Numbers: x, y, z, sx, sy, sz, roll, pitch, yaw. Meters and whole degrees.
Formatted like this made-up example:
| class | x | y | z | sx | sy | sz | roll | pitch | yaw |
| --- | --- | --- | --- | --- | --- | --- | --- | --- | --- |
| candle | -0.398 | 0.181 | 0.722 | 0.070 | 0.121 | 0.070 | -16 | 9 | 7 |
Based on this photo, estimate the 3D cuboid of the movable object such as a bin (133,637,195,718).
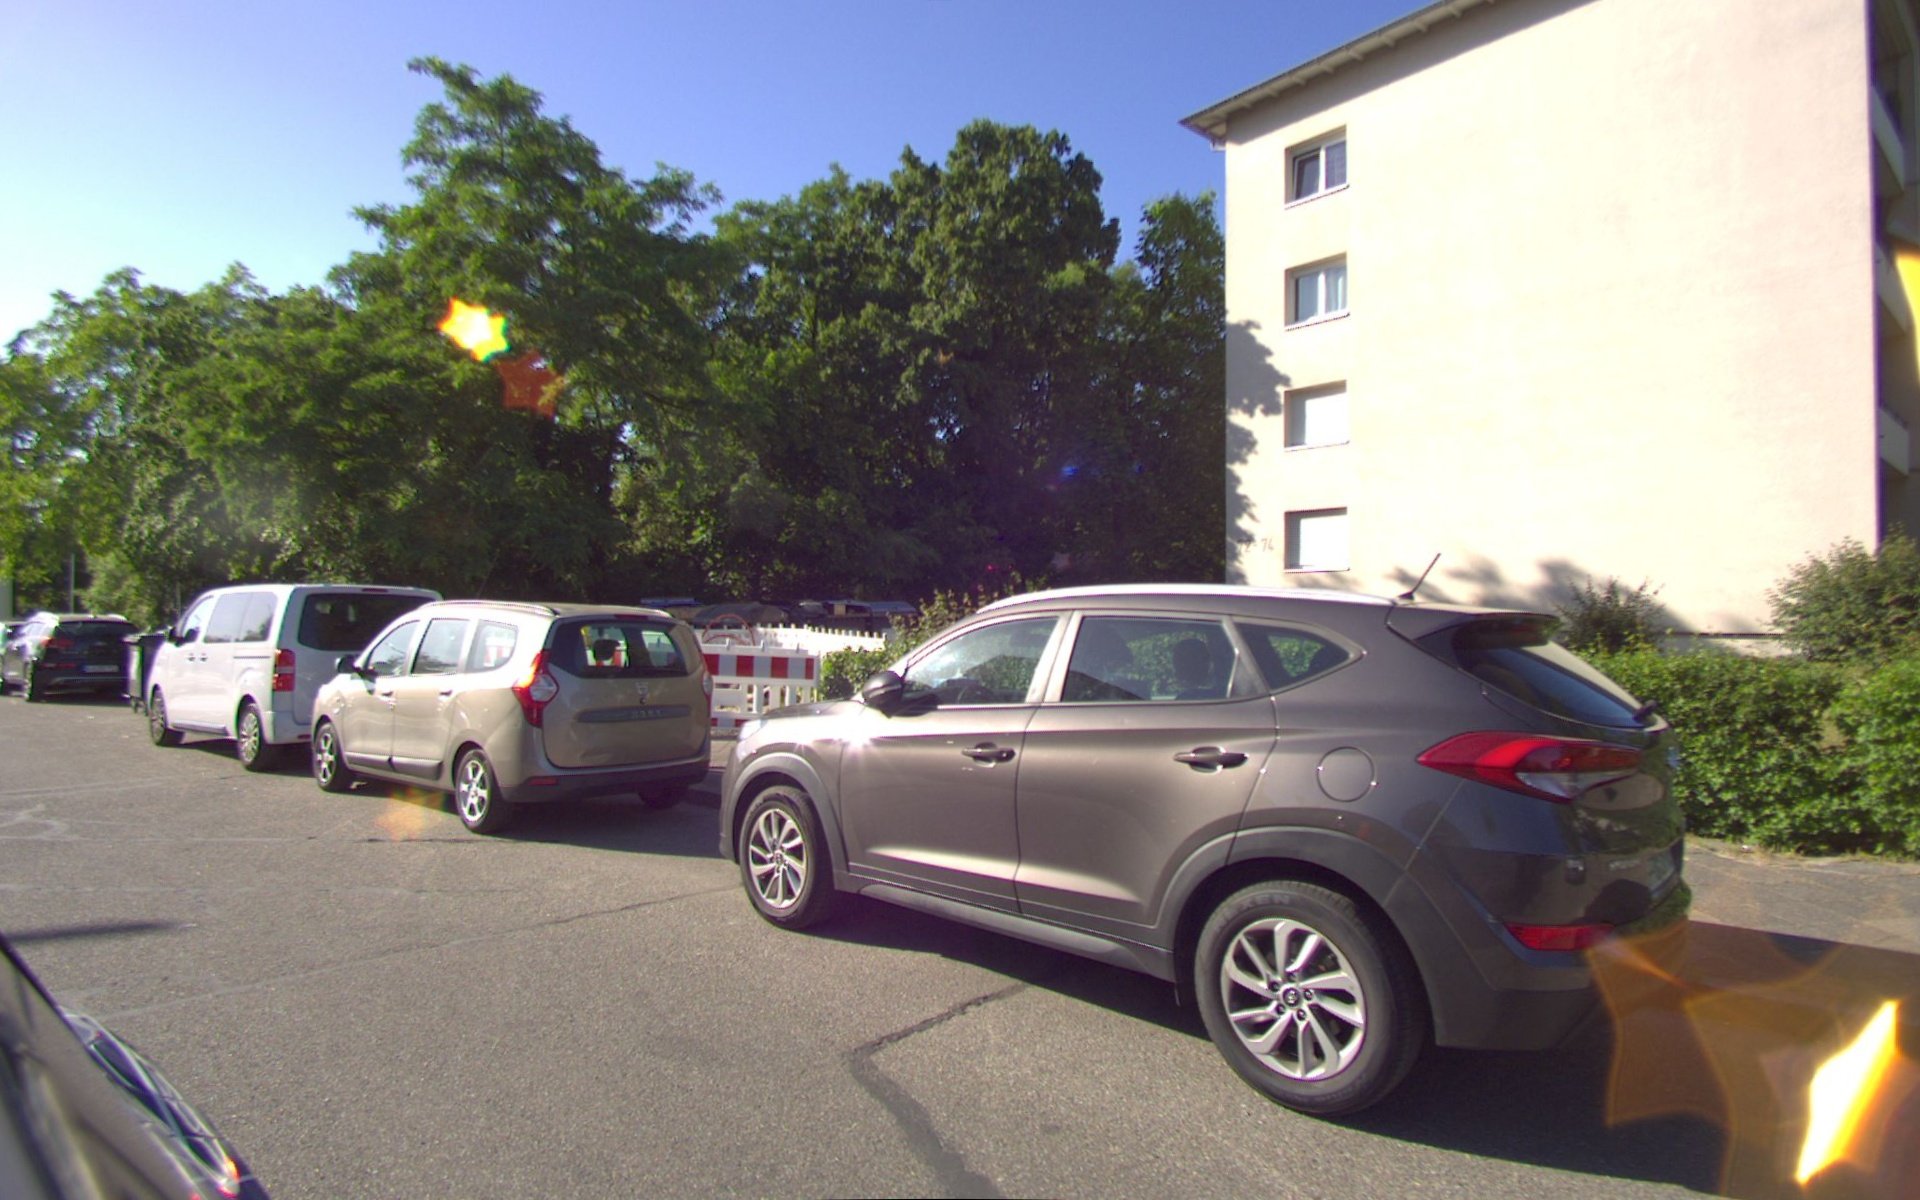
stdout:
| class | x | y | z | sx | sy | sz | roll | pitch | yaw |
| --- | --- | --- | --- | --- | --- | --- | --- | --- | --- |
| movable object such as a bin | -13.917 | 1.334 | 17.689 | 1.268 | 1.350 | 0.602 | -1 | -2 | 41 |

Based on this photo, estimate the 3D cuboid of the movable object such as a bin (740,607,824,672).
| class | x | y | z | sx | sy | sz | roll | pitch | yaw |
| --- | --- | --- | --- | --- | --- | --- | --- | --- | --- |
| movable object such as a bin | -4.059 | 0.884 | 23.045 | 1.510 | 1.419 | 1.261 | -1 | -2 | 45 |

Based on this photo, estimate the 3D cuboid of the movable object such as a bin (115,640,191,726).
| class | x | y | z | sx | sy | sz | roll | pitch | yaw |
| --- | --- | --- | --- | --- | --- | --- | --- | --- | --- |
| movable object such as a bin | -13.205 | 1.328 | 16.560 | 1.321 | 1.326 | 0.794 | -3 | -3 | 44 |

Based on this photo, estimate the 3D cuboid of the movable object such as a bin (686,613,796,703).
| class | x | y | z | sx | sy | sz | roll | pitch | yaw |
| --- | --- | --- | --- | --- | --- | --- | --- | --- | --- |
| movable object such as a bin | -3.609 | 0.923 | 16.696 | 1.260 | 1.412 | 1.264 | -1 | -2 | 36 |

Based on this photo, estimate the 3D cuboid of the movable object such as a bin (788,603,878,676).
| class | x | y | z | sx | sy | sz | roll | pitch | yaw |
| --- | --- | --- | --- | --- | --- | --- | --- | --- | --- |
| movable object such as a bin | -2.764 | 0.843 | 22.007 | 1.509 | 1.500 | 1.262 | -1 | -2 | 41 |

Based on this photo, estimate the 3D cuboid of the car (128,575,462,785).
| class | x | y | z | sx | sy | sz | roll | pitch | yaw |
| --- | --- | --- | --- | --- | --- | --- | --- | --- | --- |
| car | -7.811 | 0.824 | 11.717 | 4.664 | 1.976 | 1.845 | -2 | -2 | 38 |

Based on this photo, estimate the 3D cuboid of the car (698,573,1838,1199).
| class | x | y | z | sx | sy | sz | roll | pitch | yaw |
| --- | --- | --- | --- | --- | --- | --- | --- | --- | --- |
| car | 0.821 | 0.823 | 4.343 | 4.363 | 1.630 | 1.729 | -2 | -2 | 43 |

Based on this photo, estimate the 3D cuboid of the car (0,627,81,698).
| class | x | y | z | sx | sy | sz | roll | pitch | yaw |
| --- | --- | --- | --- | --- | --- | --- | --- | --- | --- |
| car | -21.804 | 1.388 | 23.144 | 3.407 | 1.539 | 1.614 | -1 | -2 | 31 |

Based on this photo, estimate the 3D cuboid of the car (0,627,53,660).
| class | x | y | z | sx | sy | sz | roll | pitch | yaw |
| --- | --- | --- | --- | --- | --- | --- | --- | --- | --- |
| car | -50.711 | 2.277 | 53.146 | 1.903 | 1.718 | 4.160 | 0 | -2 | 18 |

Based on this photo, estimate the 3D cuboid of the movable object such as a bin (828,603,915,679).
| class | x | y | z | sx | sy | sz | roll | pitch | yaw |
| --- | --- | --- | --- | --- | --- | --- | --- | --- | --- |
| movable object such as a bin | -1.815 | 0.825 | 20.805 | 1.278 | 1.500 | 1.246 | -1 | -2 | 39 |

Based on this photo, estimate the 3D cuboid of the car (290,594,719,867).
| class | x | y | z | sx | sy | sz | roll | pitch | yaw |
| --- | --- | --- | --- | --- | --- | --- | --- | --- | --- |
| car | -3.967 | 0.892 | 8.444 | 4.337 | 1.735 | 1.540 | -2 | -2 | 40 |

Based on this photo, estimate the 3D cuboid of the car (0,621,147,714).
| class | x | y | z | sx | sy | sz | roll | pitch | yaw |
| --- | --- | --- | --- | --- | --- | --- | --- | --- | --- |
| car | -17.724 | 1.273 | 19.928 | 4.243 | 1.651 | 1.659 | -2 | -3 | 37 |

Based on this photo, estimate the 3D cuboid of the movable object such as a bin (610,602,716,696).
| class | x | y | z | sx | sy | sz | roll | pitch | yaw |
| --- | --- | --- | --- | --- | --- | --- | --- | --- | --- |
| movable object such as a bin | -5.183 | 0.834 | 17.700 | 1.276 | 1.563 | 1.248 | -1 | -2 | 32 |

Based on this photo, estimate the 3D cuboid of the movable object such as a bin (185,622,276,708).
| class | x | y | z | sx | sy | sz | roll | pitch | yaw |
| --- | --- | --- | --- | --- | --- | --- | --- | --- | --- |
| movable object such as a bin | -13.195 | 1.154 | 18.319 | 0.889 | 1.479 | 1.054 | -1 | 0 | 28 |

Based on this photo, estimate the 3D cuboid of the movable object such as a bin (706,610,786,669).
| class | x | y | z | sx | sy | sz | roll | pitch | yaw |
| --- | --- | --- | --- | --- | --- | --- | --- | --- | --- |
| movable object such as a bin | -5.140 | 0.924 | 24.250 | 1.510 | 1.365 | 1.261 | -1 | -2 | 45 |

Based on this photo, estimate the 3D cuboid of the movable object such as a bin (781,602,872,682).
| class | x | y | z | sx | sy | sz | roll | pitch | yaw |
| --- | --- | --- | --- | --- | --- | --- | --- | --- | --- |
| movable object such as a bin | -2.607 | 0.800 | 19.758 | 1.278 | 1.500 | 1.246 | -1 | -2 | 39 |
